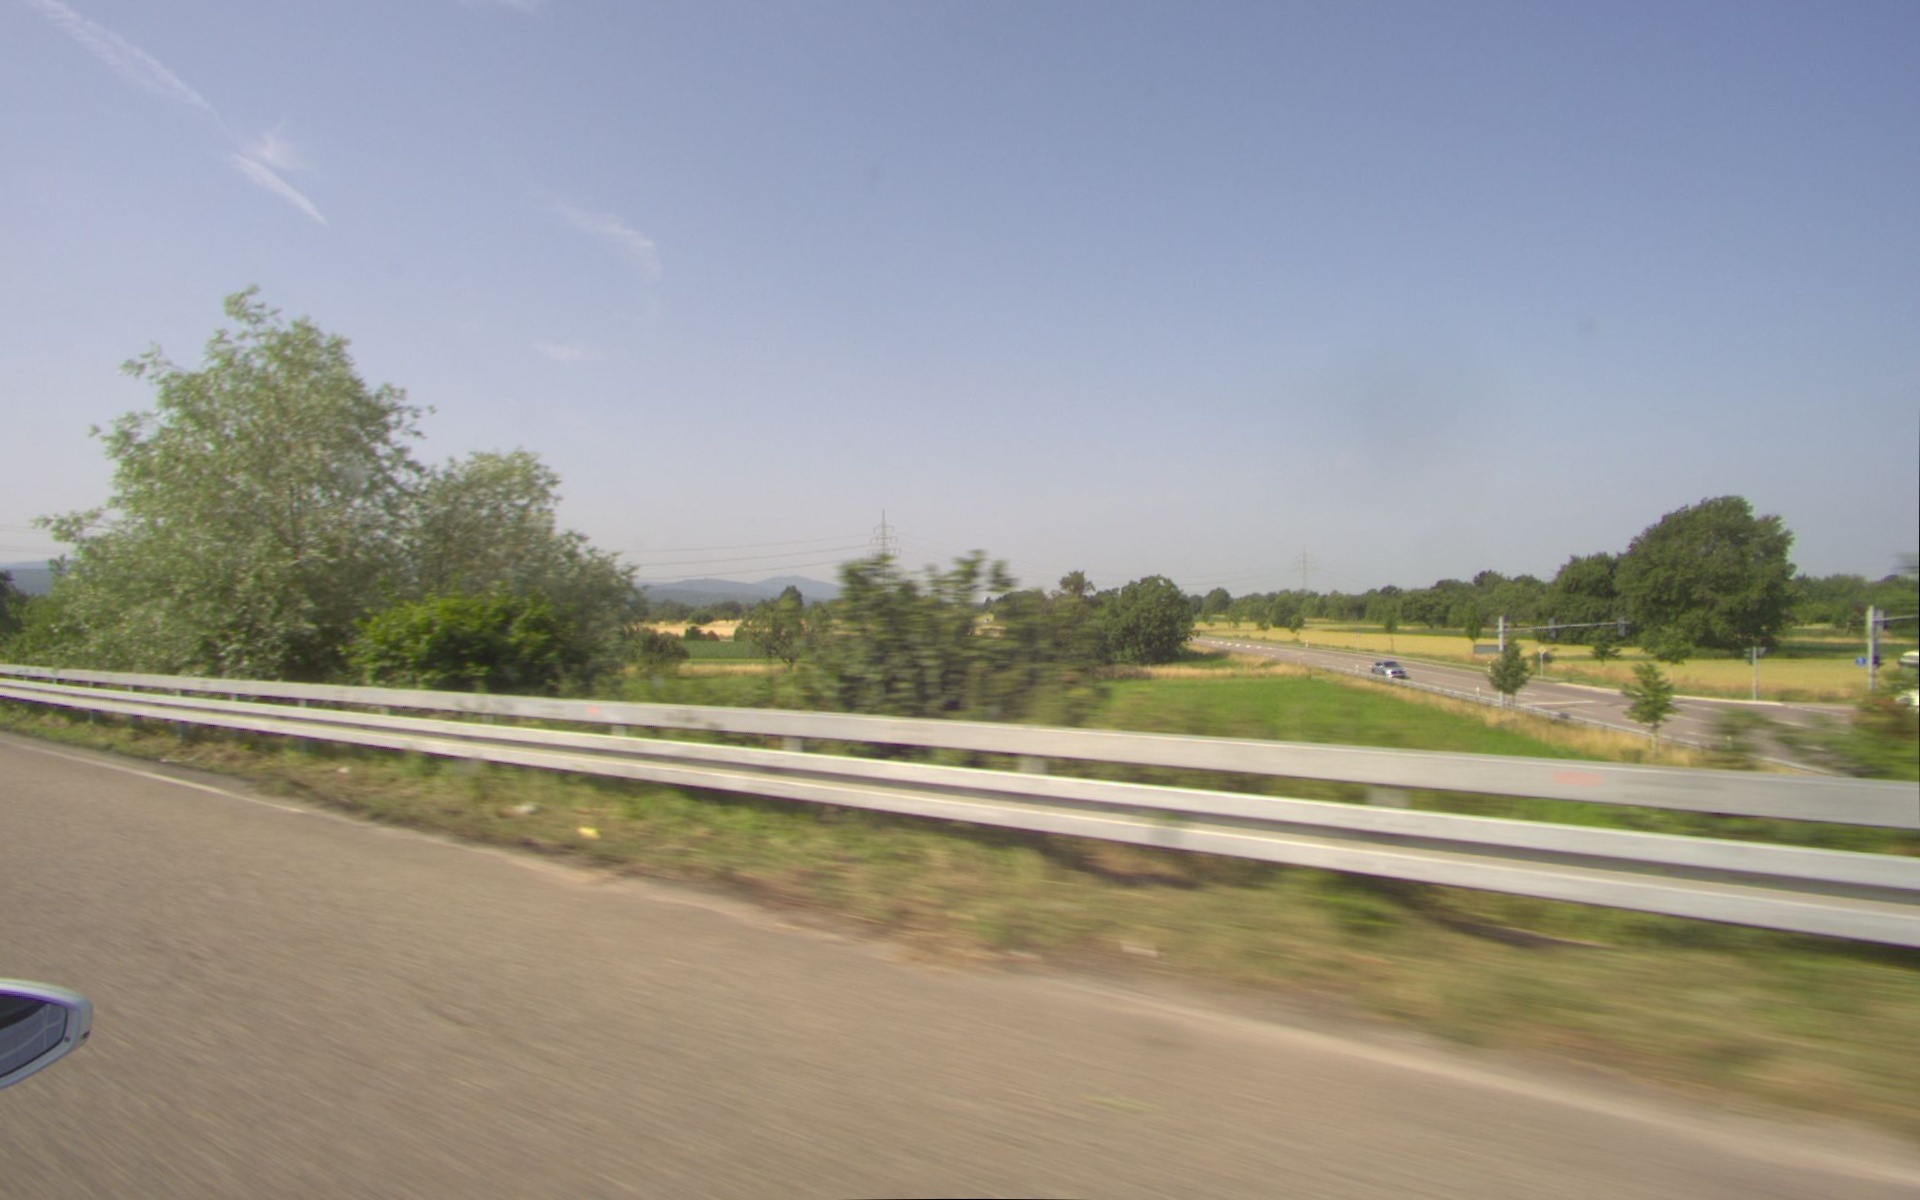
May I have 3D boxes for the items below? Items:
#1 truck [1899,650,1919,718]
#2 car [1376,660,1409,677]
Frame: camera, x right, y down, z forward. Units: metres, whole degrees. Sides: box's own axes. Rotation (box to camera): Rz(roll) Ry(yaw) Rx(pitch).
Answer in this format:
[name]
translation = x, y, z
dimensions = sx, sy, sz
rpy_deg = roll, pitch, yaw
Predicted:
[truck]
translation = 55.720, 4.687, 55.553
dimensions = 4.851, 3.726, 2.106
rpy_deg = 0, 0, 15
[car]
translation = 40.098, 6.385, 92.956
dimensions = 1.675, 1.494, 3.608
rpy_deg = 1, -4, 3
